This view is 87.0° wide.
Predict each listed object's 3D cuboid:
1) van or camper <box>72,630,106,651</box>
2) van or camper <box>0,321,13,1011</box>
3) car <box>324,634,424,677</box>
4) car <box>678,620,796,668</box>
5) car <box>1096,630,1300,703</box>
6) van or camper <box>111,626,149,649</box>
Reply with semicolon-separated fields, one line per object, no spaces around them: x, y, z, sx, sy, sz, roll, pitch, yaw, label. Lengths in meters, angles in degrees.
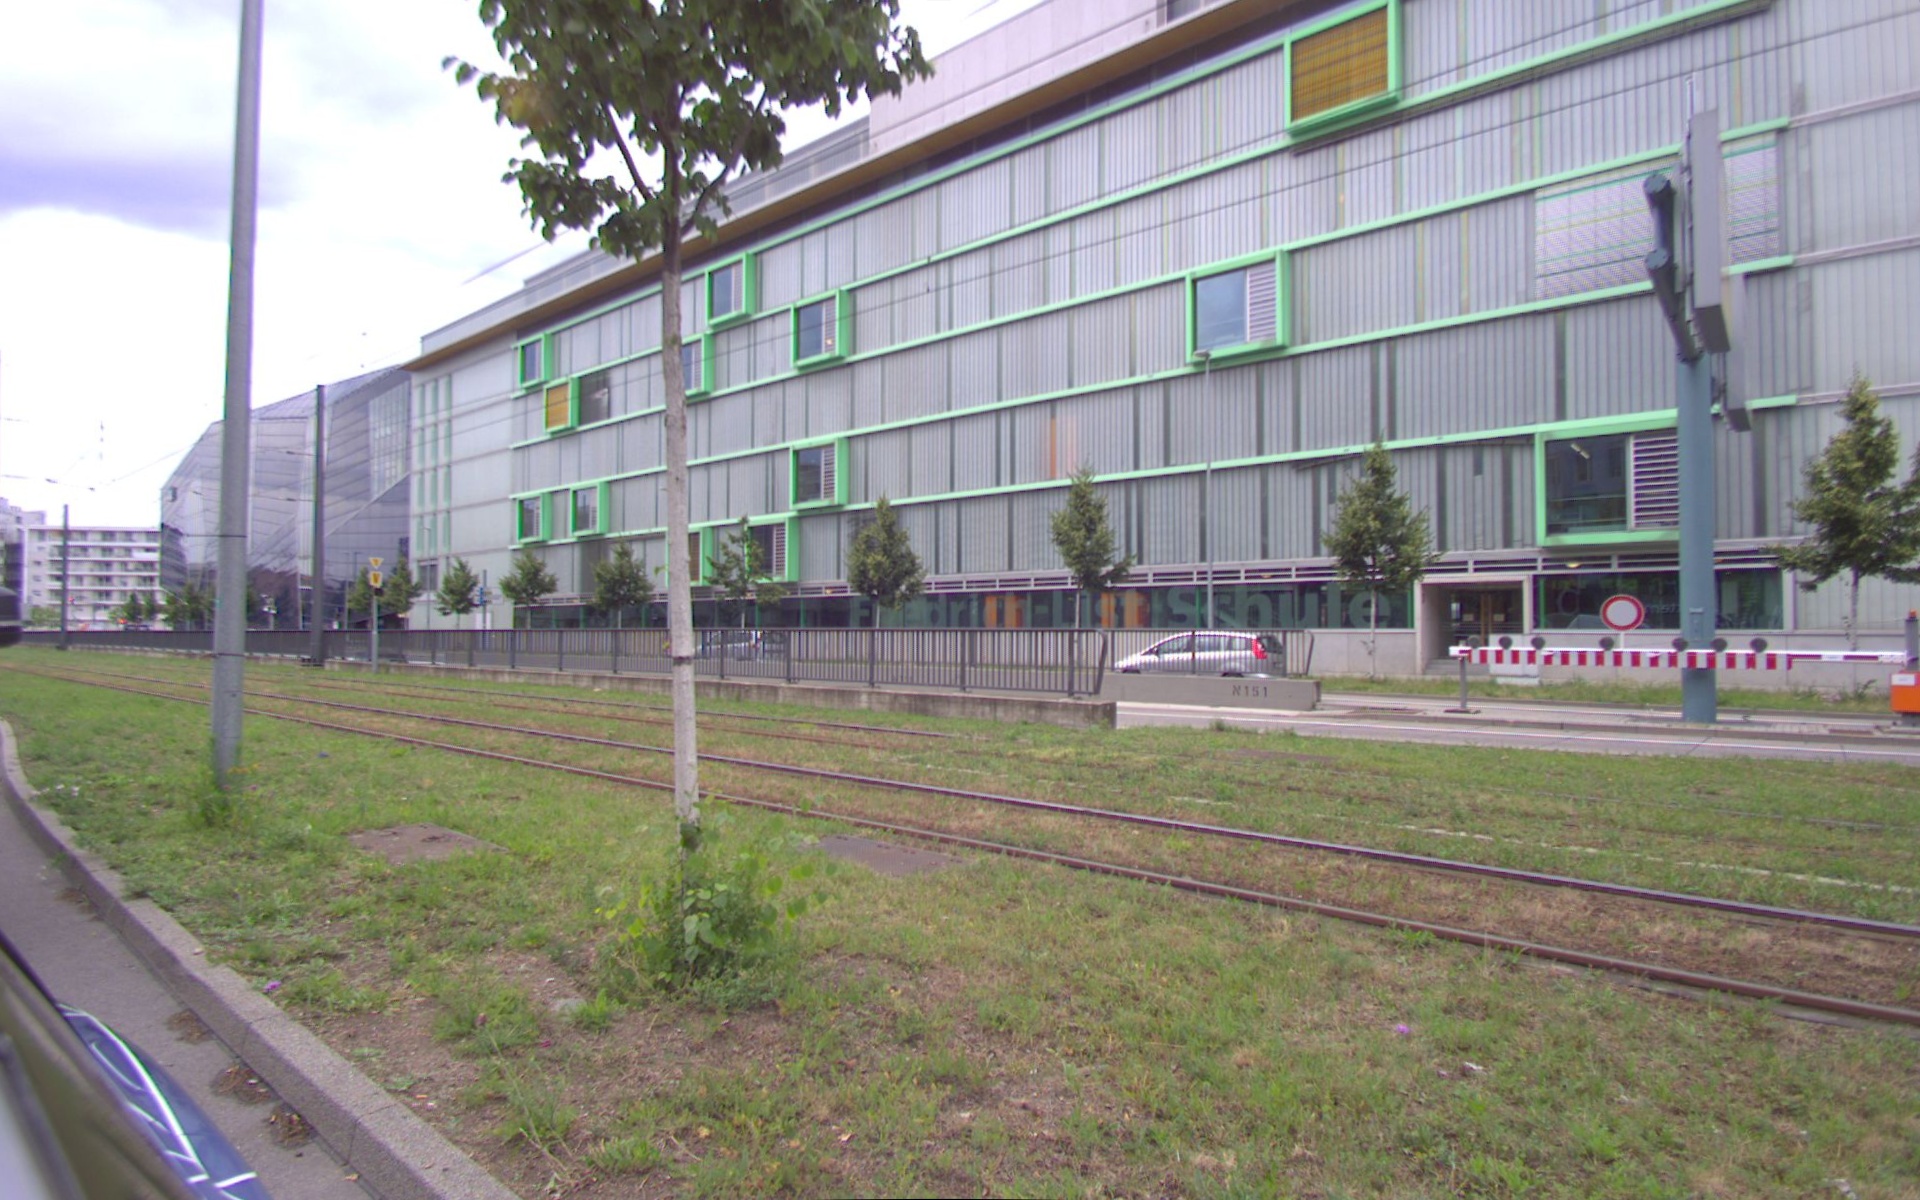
-101.132;4.664;117.473;6.503;2.304;2.150;-2;-2;42;van or camper
-6.173;0.288;4.705;5.037;2.607;2.017;-2;-2;40;van or camper
-23.500;2.178;40.519;4.684;1.600;1.944;-2;-2;39;car
-8.257;1.563;37.204;4.574;1.582;1.779;0;1;39;car
5.813;1.577;25.100;4.670;1.656;1.704;-2;-2;39;car
-84.938;3.832;103.567;5.356;2.304;2.150;-2;-2;41;van or camper
